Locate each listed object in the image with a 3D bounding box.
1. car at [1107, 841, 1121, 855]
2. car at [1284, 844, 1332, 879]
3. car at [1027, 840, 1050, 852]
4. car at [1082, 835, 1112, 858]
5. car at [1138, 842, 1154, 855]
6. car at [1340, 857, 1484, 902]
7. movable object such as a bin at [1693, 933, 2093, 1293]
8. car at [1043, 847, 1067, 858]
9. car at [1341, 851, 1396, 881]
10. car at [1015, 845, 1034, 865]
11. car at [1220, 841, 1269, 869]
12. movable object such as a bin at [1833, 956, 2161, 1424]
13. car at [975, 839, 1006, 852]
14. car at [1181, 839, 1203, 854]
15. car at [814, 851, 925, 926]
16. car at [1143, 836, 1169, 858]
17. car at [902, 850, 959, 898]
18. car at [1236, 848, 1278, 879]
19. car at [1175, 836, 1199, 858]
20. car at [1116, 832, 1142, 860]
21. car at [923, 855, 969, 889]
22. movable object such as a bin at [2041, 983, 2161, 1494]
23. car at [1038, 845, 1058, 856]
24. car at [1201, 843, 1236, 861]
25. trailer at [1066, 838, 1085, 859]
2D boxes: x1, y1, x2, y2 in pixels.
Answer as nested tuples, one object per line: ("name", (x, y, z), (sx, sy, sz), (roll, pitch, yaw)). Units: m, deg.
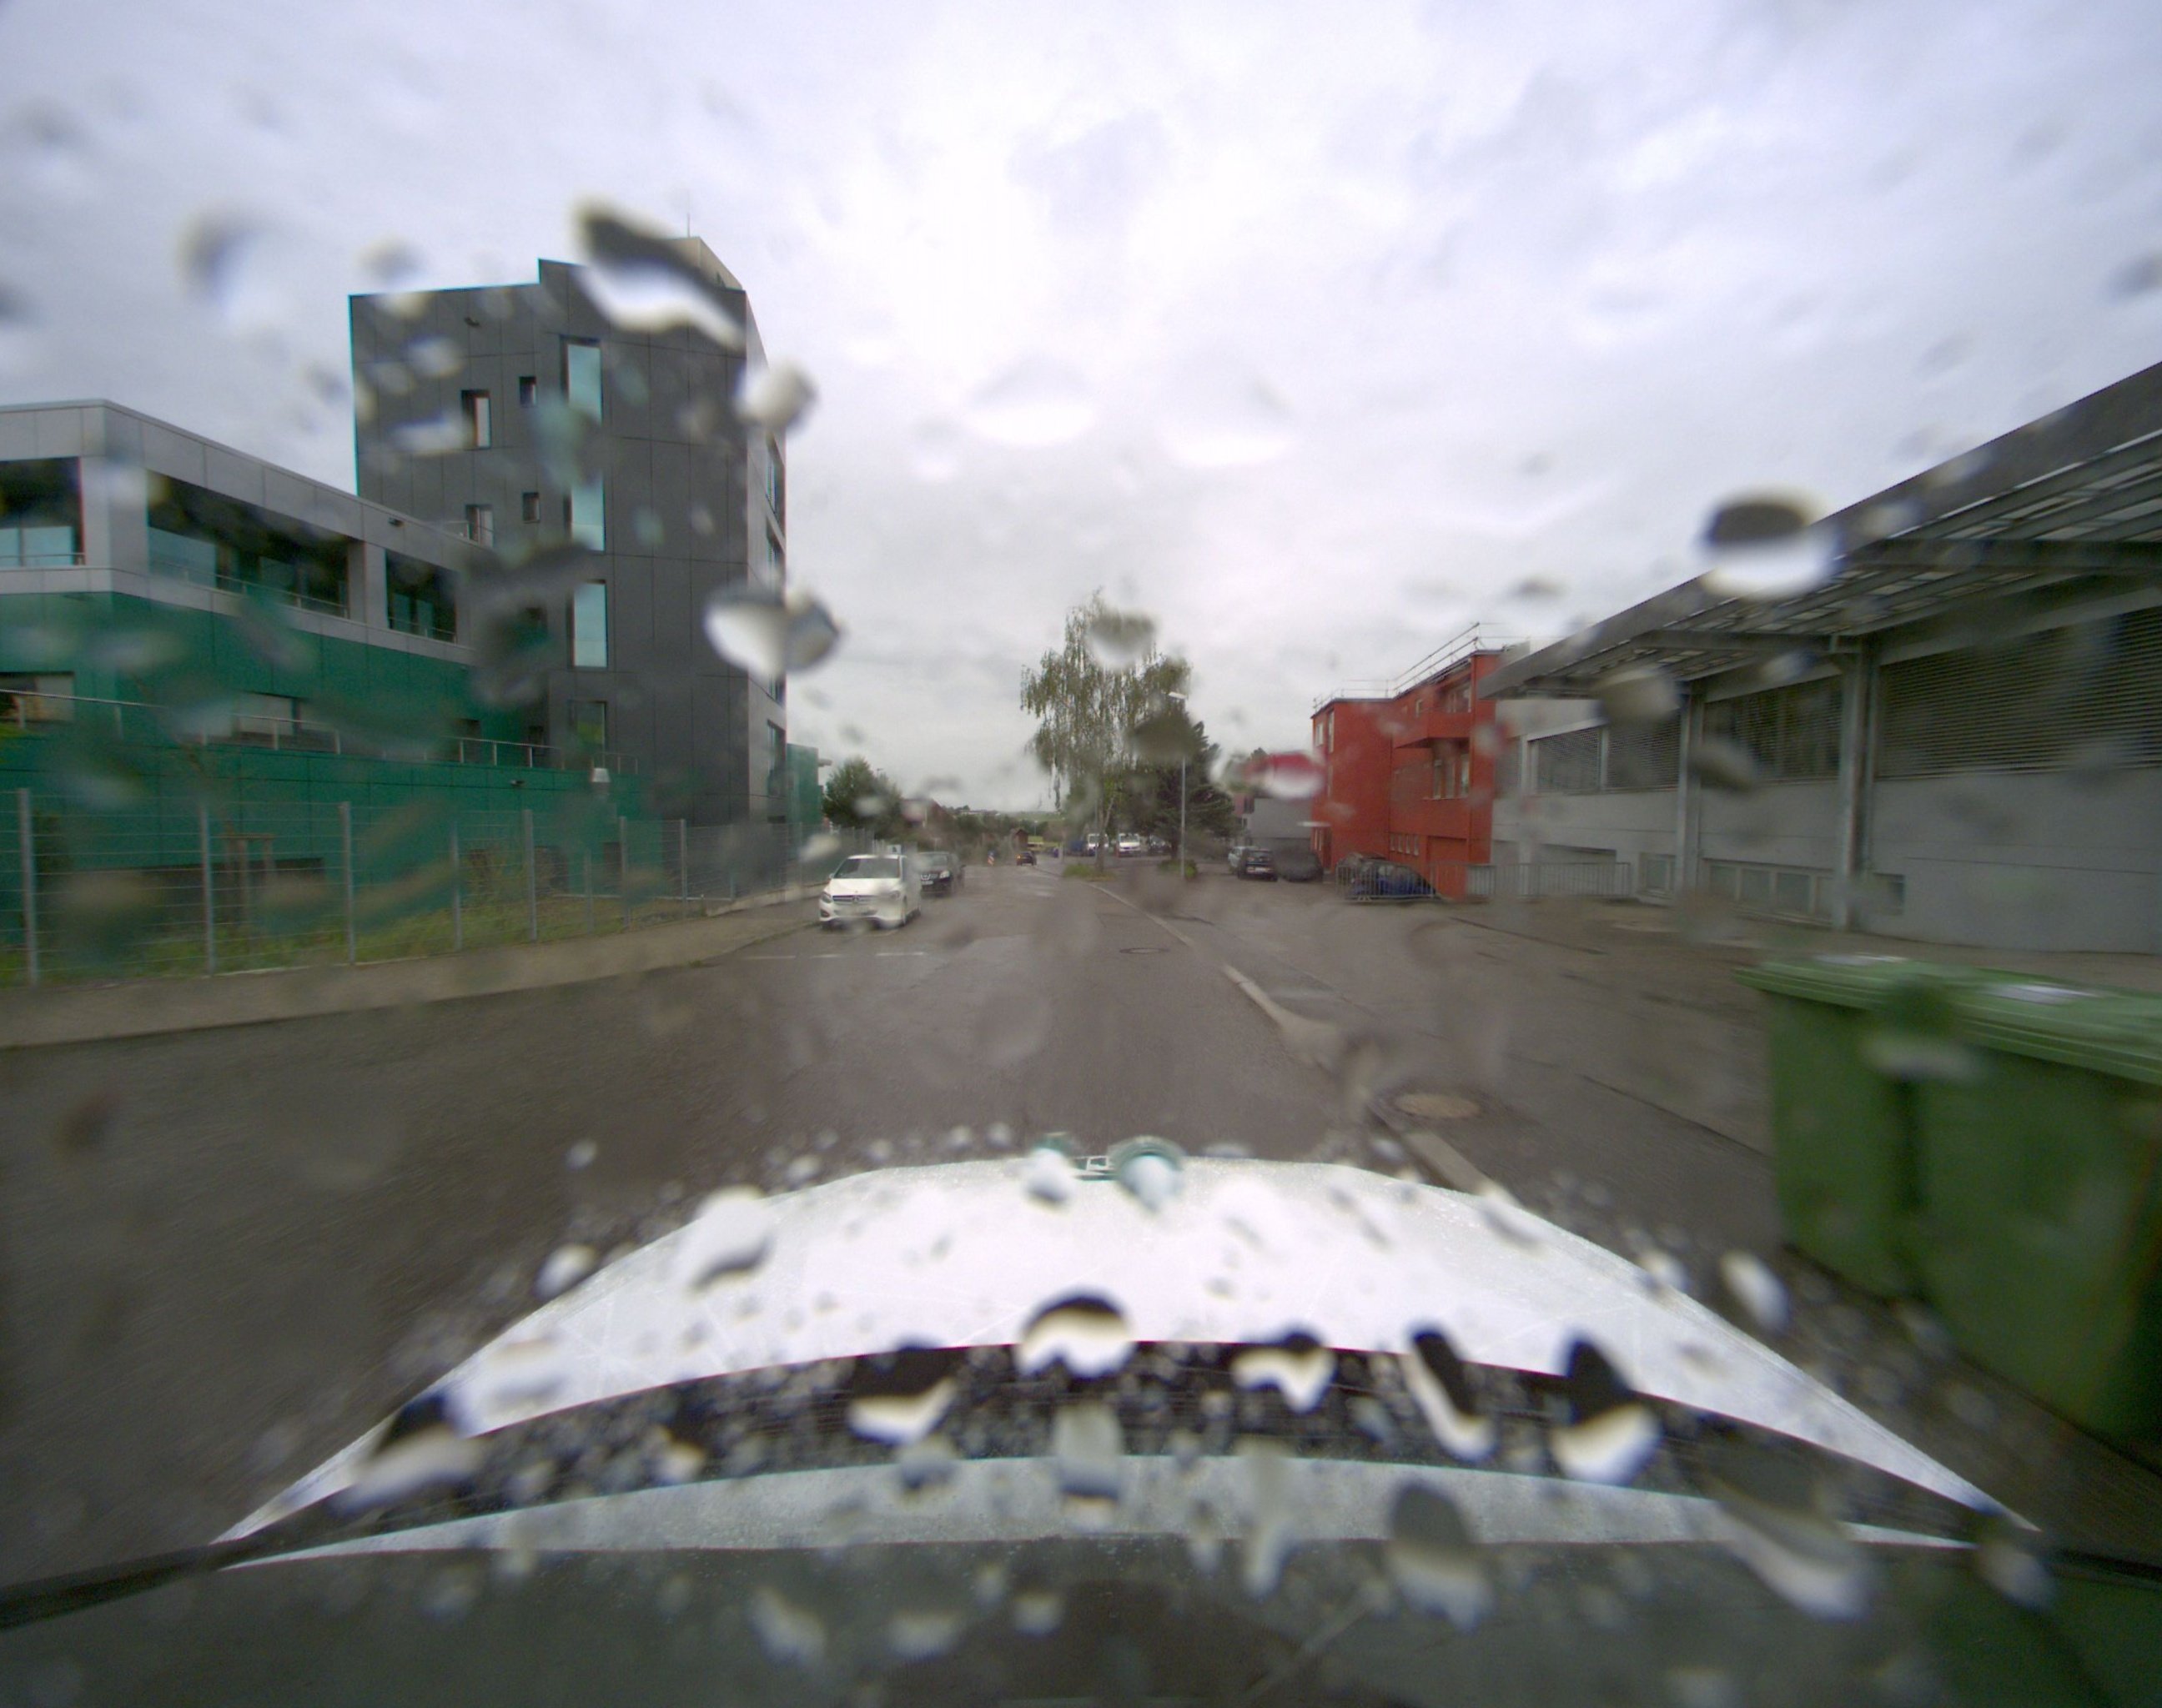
("car", (3.333, -0.588, 82.083), (1.286, 1.424, 2.546), (0, -1, 1))
("car", (11.364, 0.391, 41.002), (1.730, 1.653, 4.007), (0, -1, 7))
("car", (-8.208, -1.547, 157.330), (4.211, 2.226, 2.007), (0, -1, 13))
("car", (1.456, -0.661, 76.212), (2.264, 2.014, 3.988), (0, -1, -8))
("car", (6.572, -0.552, 82.732), (1.393, 1.326, 2.701), (0, -1, 0))
("car", (9.085, 0.670, 22.594), (3.381, 1.163, 1.796), (0, 0, 8))
("movable object such as a bin", (2.821, 0.858, 2.907), (0.799, 1.079, 0.625), (-1, 0, 2))
("car", (-3.959, -0.184, 122.604), (2.468, 1.539, 3.973), (0, -1, -20))
("car", (14.040, 0.593, 39.944), (1.720, 1.422, 4.007), (0, -1, 7))
("car", (-5.954, 0.126, 86.845), (1.864, 2.029, 3.997), (0, -1, -2))
("car", (9.602, 0.092, 48.059), (2.059, 1.552, 3.998), (0, -1, -1))
("movable object such as a bin", (2.801, 0.868, 2.302), (0.806, 1.076, 0.582), (-1, 0, 2))
("car", (-12.881, -1.187, 115.870), (3.965, 1.882, 2.004), (0, 0, 7))
("car", (11.269, -0.743, 82.824), (1.633, 1.453, 3.508), (0, -1, -3))
("car", (-4.736, 0.738, 18.800), (1.767, 1.513, 4.138), (-1, -1, -4))
("car", (7.045, -0.657, 76.988), (2.138, 2.014, 3.939), (0, -1, 0))
("car", (-5.479, 0.679, 30.060), (1.698, 1.609, 3.992), (-1, 1, -6))
("car", (8.717, 0.492, 40.614), (1.688, 1.475, 4.007), (0, -1, 7))
("car", (10.009, -0.660, 77.083), (1.775, 2.014, 3.632), (0, -1, 1))
("car", (4.485, -0.714, 76.316), (2.186, 2.459, 3.998), (0, -1, -1))
("car", (-5.846, 0.765, 35.633), (1.629, 1.393, 3.993), (0, -1, -5))
("movable object such as a bin", (2.781, 0.863, 1.740), (0.806, 1.090, 0.542), (-1, 0, 2))
("car", (-5.239, -0.580, 128.356), (2.000, 1.704, 3.973), (0, -1, -20))
("car", (10.597, -0.148, 62.703), (2.538, 1.352, 1.243), (0, 0, 1))
("trailer", (-0.516, -0.507, 80.468), (1.847, 2.013, 3.999), (0, 0, -1))
